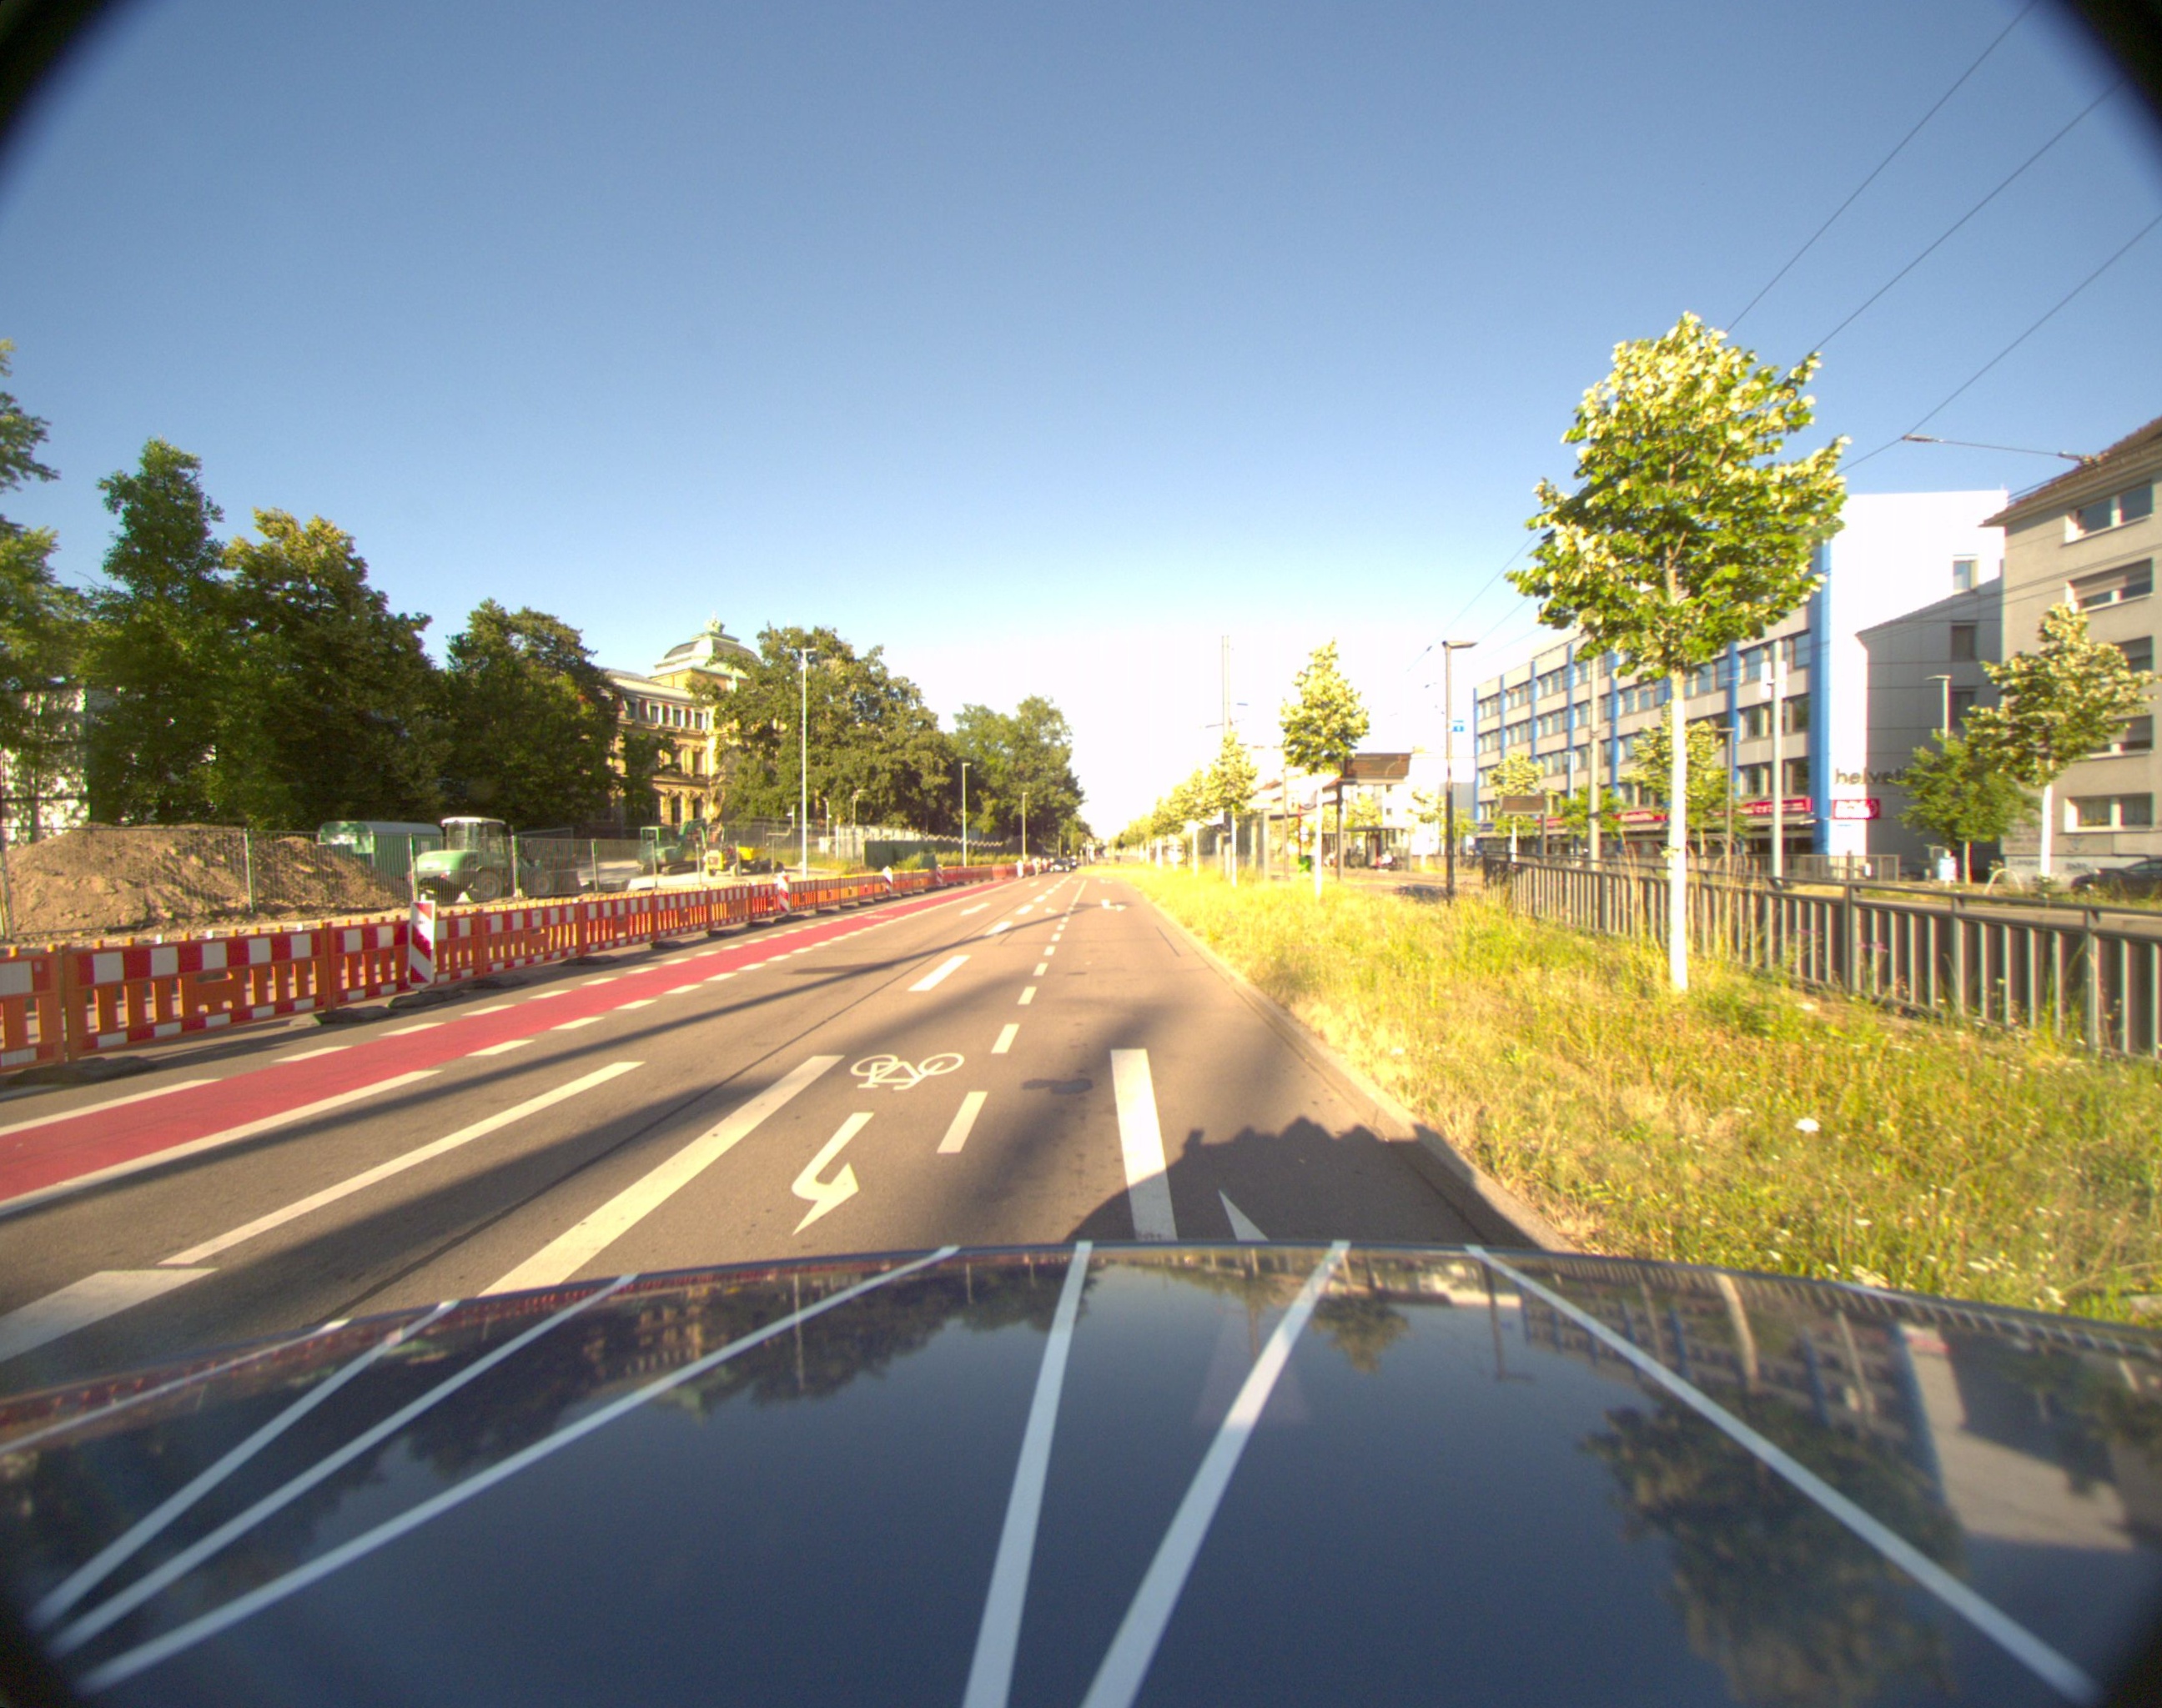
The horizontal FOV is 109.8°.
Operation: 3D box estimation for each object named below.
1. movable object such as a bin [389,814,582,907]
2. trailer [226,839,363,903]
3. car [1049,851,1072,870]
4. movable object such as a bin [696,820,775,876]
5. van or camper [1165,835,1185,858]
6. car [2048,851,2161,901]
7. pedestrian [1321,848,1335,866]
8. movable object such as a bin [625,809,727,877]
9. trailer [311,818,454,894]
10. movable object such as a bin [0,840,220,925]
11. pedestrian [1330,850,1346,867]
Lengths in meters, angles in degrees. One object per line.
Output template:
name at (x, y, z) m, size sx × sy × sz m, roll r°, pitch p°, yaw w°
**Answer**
movable object such as a bin at (-18.999, 0.177, 24.652) m, size 2.281 × 2.688 × 4.942 m, roll -1°, pitch 0°, yaw 1°
trailer at (-31.626, 0.635, 30.662) m, size 2.954 × 2.311 × 2.221 m, roll 0°, pitch 6°, yaw -2°
car at (-2.012, 0.630, 74.690) m, size 2.080 × 1.827 × 4.000 m, roll -1°, pitch 0°, yaw 1°
movable object such as a bin at (-18.676, -0.322, 41.294) m, size 1.997 × 2.887 × 4.002 m, roll -1°, pitch 0°, yaw 8°
van or camper at (13.040, -1.032, 105.801) m, size 2.510 × 3.149 × 7.477 m, roll -1°, pitch 0°, yaw 4°
car at (33.305, 0.651, 23.178) m, size 1.998 × 1.499 × 4.431 m, roll 0°, pitch 0°, yaw 1°
pedestrian at (18.873, 0.223, 58.082) m, size 0.840 × 1.402 × 0.804 m, roll 0°, pitch 1°, yaw 1°
movable object such as a bin at (-22.454, -0.587, 42.447) m, size 2.280 × 3.537 × 5.501 m, roll -1°, pitch 0°, yaw 6°
trailer at (-31.494, -0.008, 34.483) m, size 2.616 × 3.075 × 3.981 m, roll 0°, pitch 6°, yaw -2°
movable object such as a bin at (-30.091, 0.809, 23.024) m, size 5.044 × 2.311 × 2.221 m, roll 0°, pitch 6°, yaw -2°
pedestrian at (18.780, 0.311, 55.512) m, size 0.936 × 1.190 × 0.764 m, roll 0°, pitch 1°, yaw 1°
